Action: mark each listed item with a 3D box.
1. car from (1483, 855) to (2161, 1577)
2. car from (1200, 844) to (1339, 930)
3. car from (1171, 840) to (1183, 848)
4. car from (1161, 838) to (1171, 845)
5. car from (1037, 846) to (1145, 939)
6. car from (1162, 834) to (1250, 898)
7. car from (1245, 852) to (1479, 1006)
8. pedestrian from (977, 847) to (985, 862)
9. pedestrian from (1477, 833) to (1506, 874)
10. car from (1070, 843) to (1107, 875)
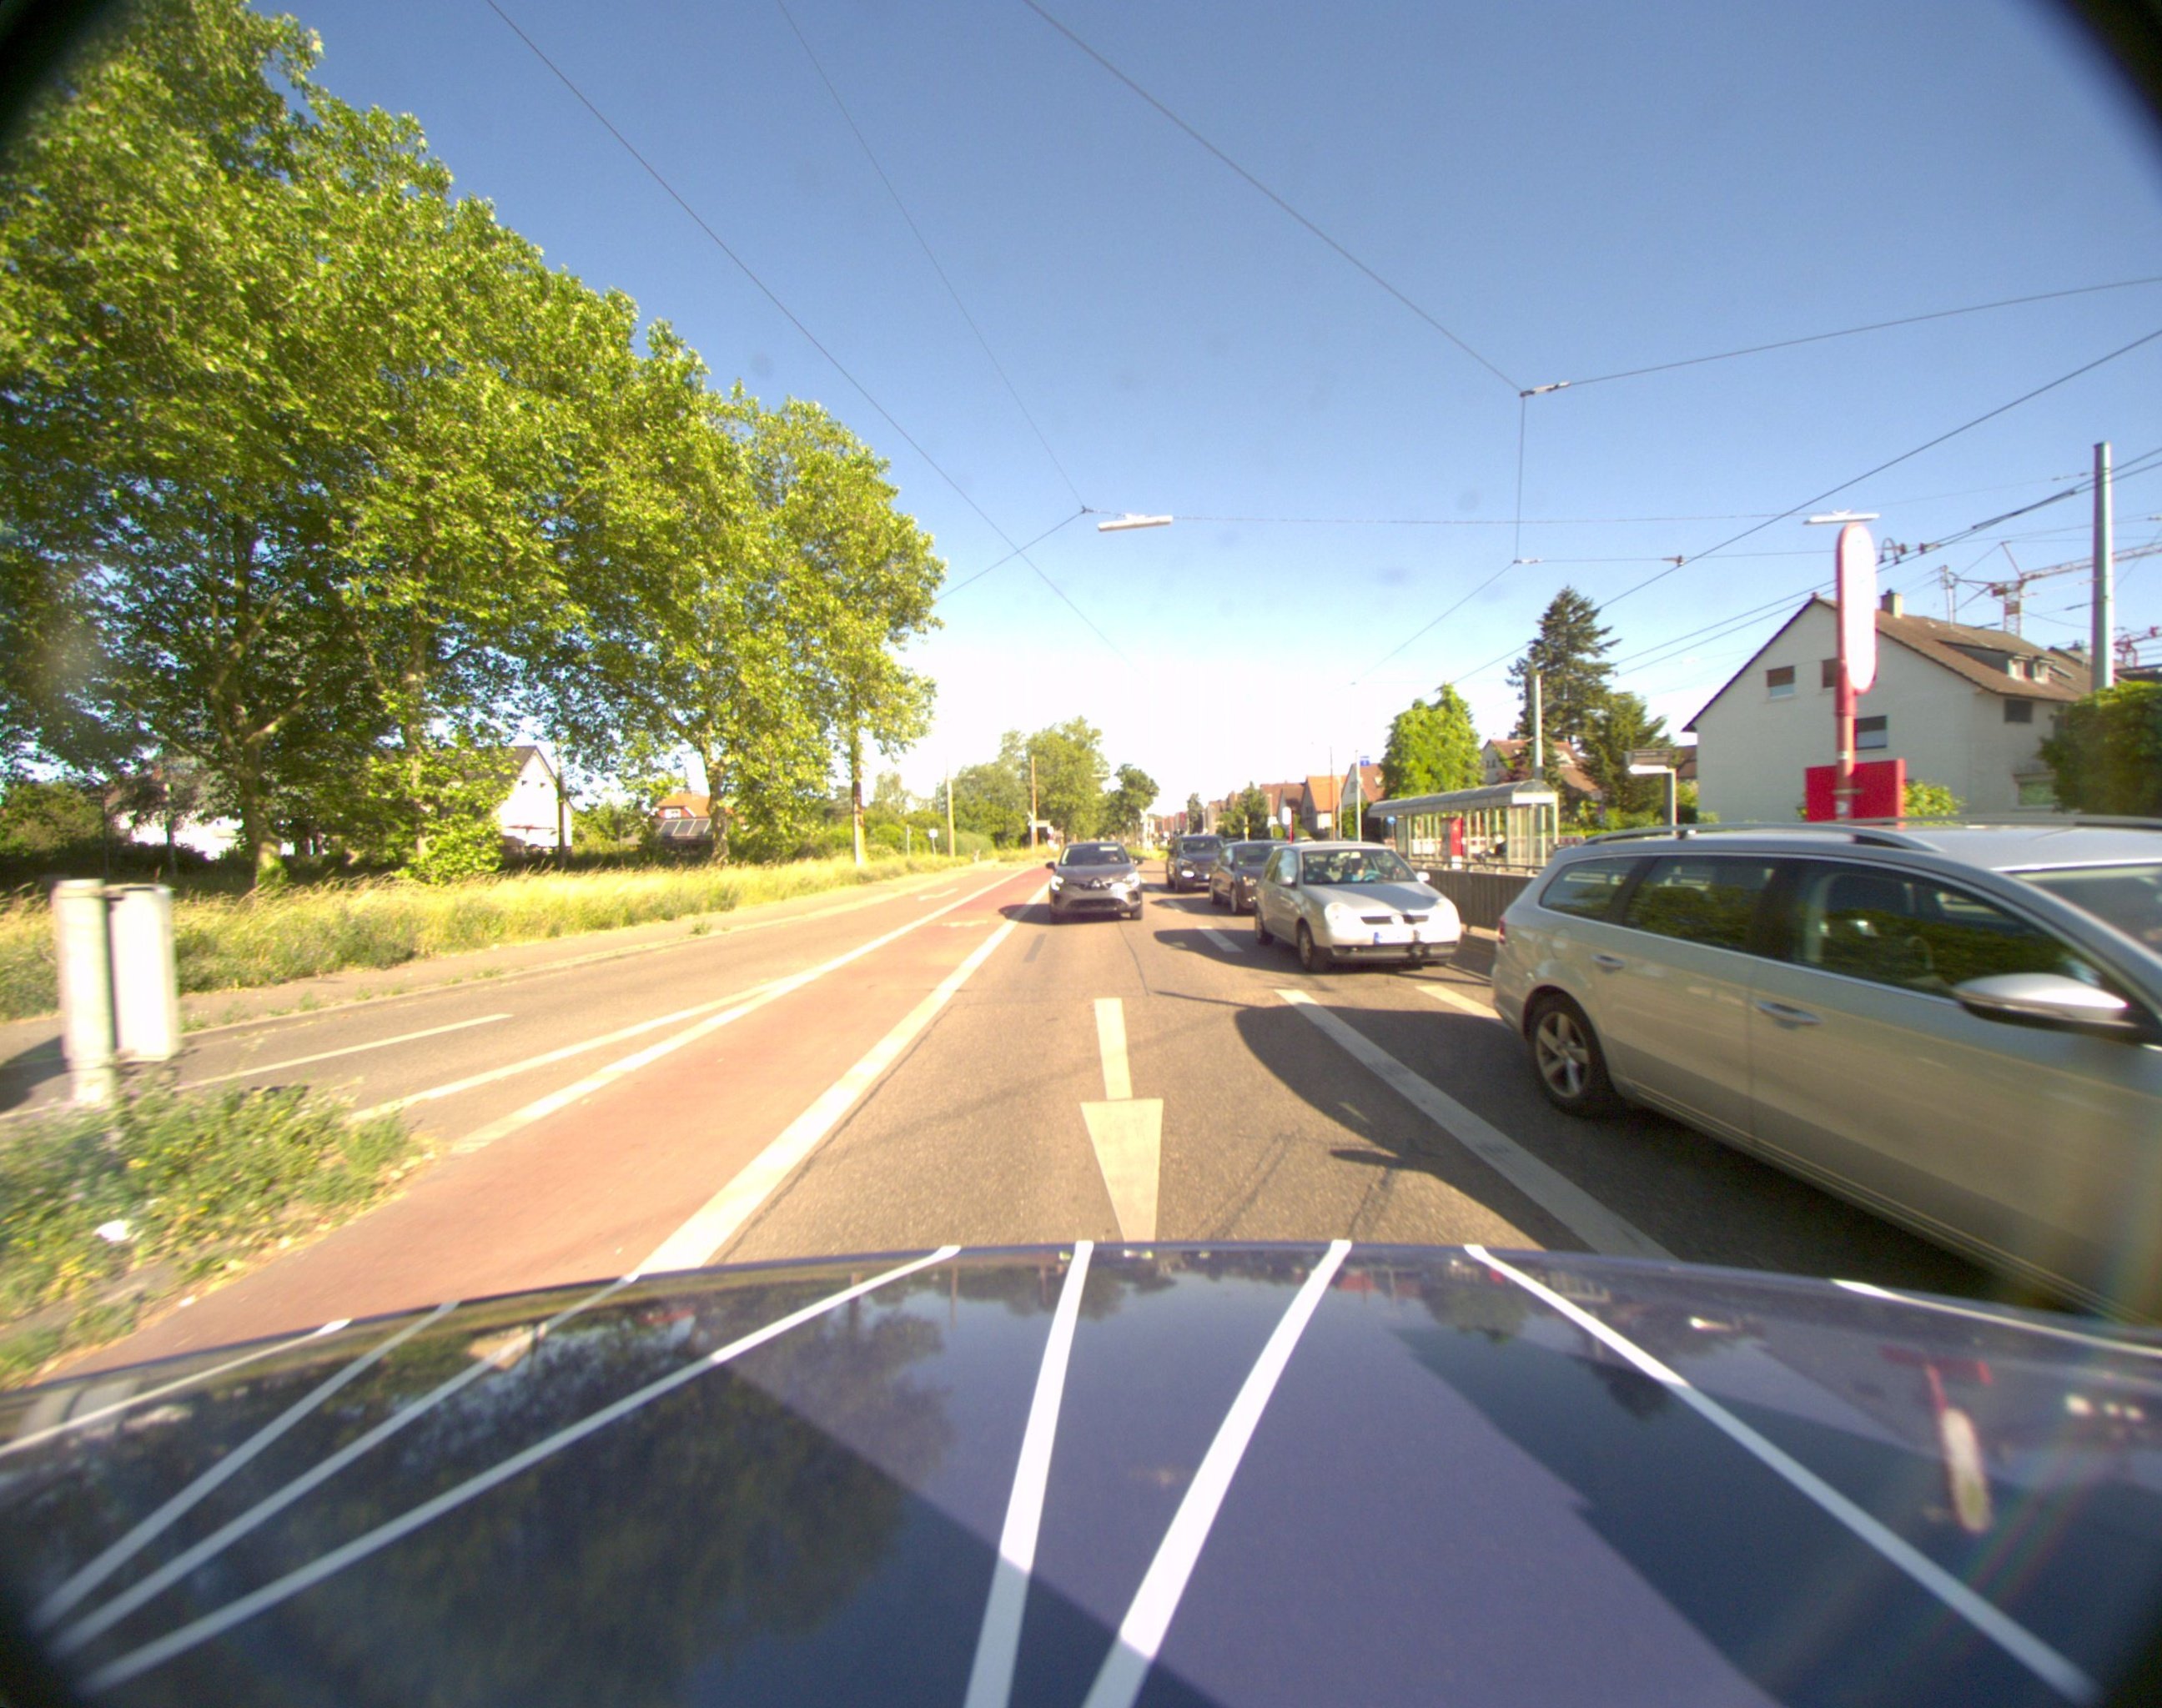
[{"bbox_3d":[3.340,0.826,2.317,1.882,1.519,4.420,-1,1,0],"label":"car"},{"bbox_3d":[3.788,0.576,15.993,1.755,1.525,4.193,-1,1,-2],"label":"car"},{"bbox_3d":[19.021,-1.937,150.167,1.998,1.456,4.000,-1,1,2],"label":"car"},{"bbox_3d":[19.997,-2.959,178.861,1.998,1.762,4.000,-1,1,2],"label":"car"},{"bbox_3d":[0.215,0.644,15.032,1.839,1.541,3.815,-1,1,1],"label":"car"},{"bbox_3d":[3.613,0.298,22.695,1.886,1.687,4.299,-1,1,0],"label":"car"},{"bbox_3d":[3.194,0.750,9.335,1.585,1.460,3.414,-2,1,0],"label":"car"},{"bbox_3d":[-7.274,0.042,55.039,0.482,1.027,0.454,-1,2,1],"label":"pedestrian"},{"bbox_3d":[14.556,-0.019,26.972,0.623,1.407,0.711,-2,1,-1],"label":"pedestrian"},{"bbox_3d":[0.371,0.213,39.866,1.839,1.541,3.815,-1,1,0],"label":"car"}]
